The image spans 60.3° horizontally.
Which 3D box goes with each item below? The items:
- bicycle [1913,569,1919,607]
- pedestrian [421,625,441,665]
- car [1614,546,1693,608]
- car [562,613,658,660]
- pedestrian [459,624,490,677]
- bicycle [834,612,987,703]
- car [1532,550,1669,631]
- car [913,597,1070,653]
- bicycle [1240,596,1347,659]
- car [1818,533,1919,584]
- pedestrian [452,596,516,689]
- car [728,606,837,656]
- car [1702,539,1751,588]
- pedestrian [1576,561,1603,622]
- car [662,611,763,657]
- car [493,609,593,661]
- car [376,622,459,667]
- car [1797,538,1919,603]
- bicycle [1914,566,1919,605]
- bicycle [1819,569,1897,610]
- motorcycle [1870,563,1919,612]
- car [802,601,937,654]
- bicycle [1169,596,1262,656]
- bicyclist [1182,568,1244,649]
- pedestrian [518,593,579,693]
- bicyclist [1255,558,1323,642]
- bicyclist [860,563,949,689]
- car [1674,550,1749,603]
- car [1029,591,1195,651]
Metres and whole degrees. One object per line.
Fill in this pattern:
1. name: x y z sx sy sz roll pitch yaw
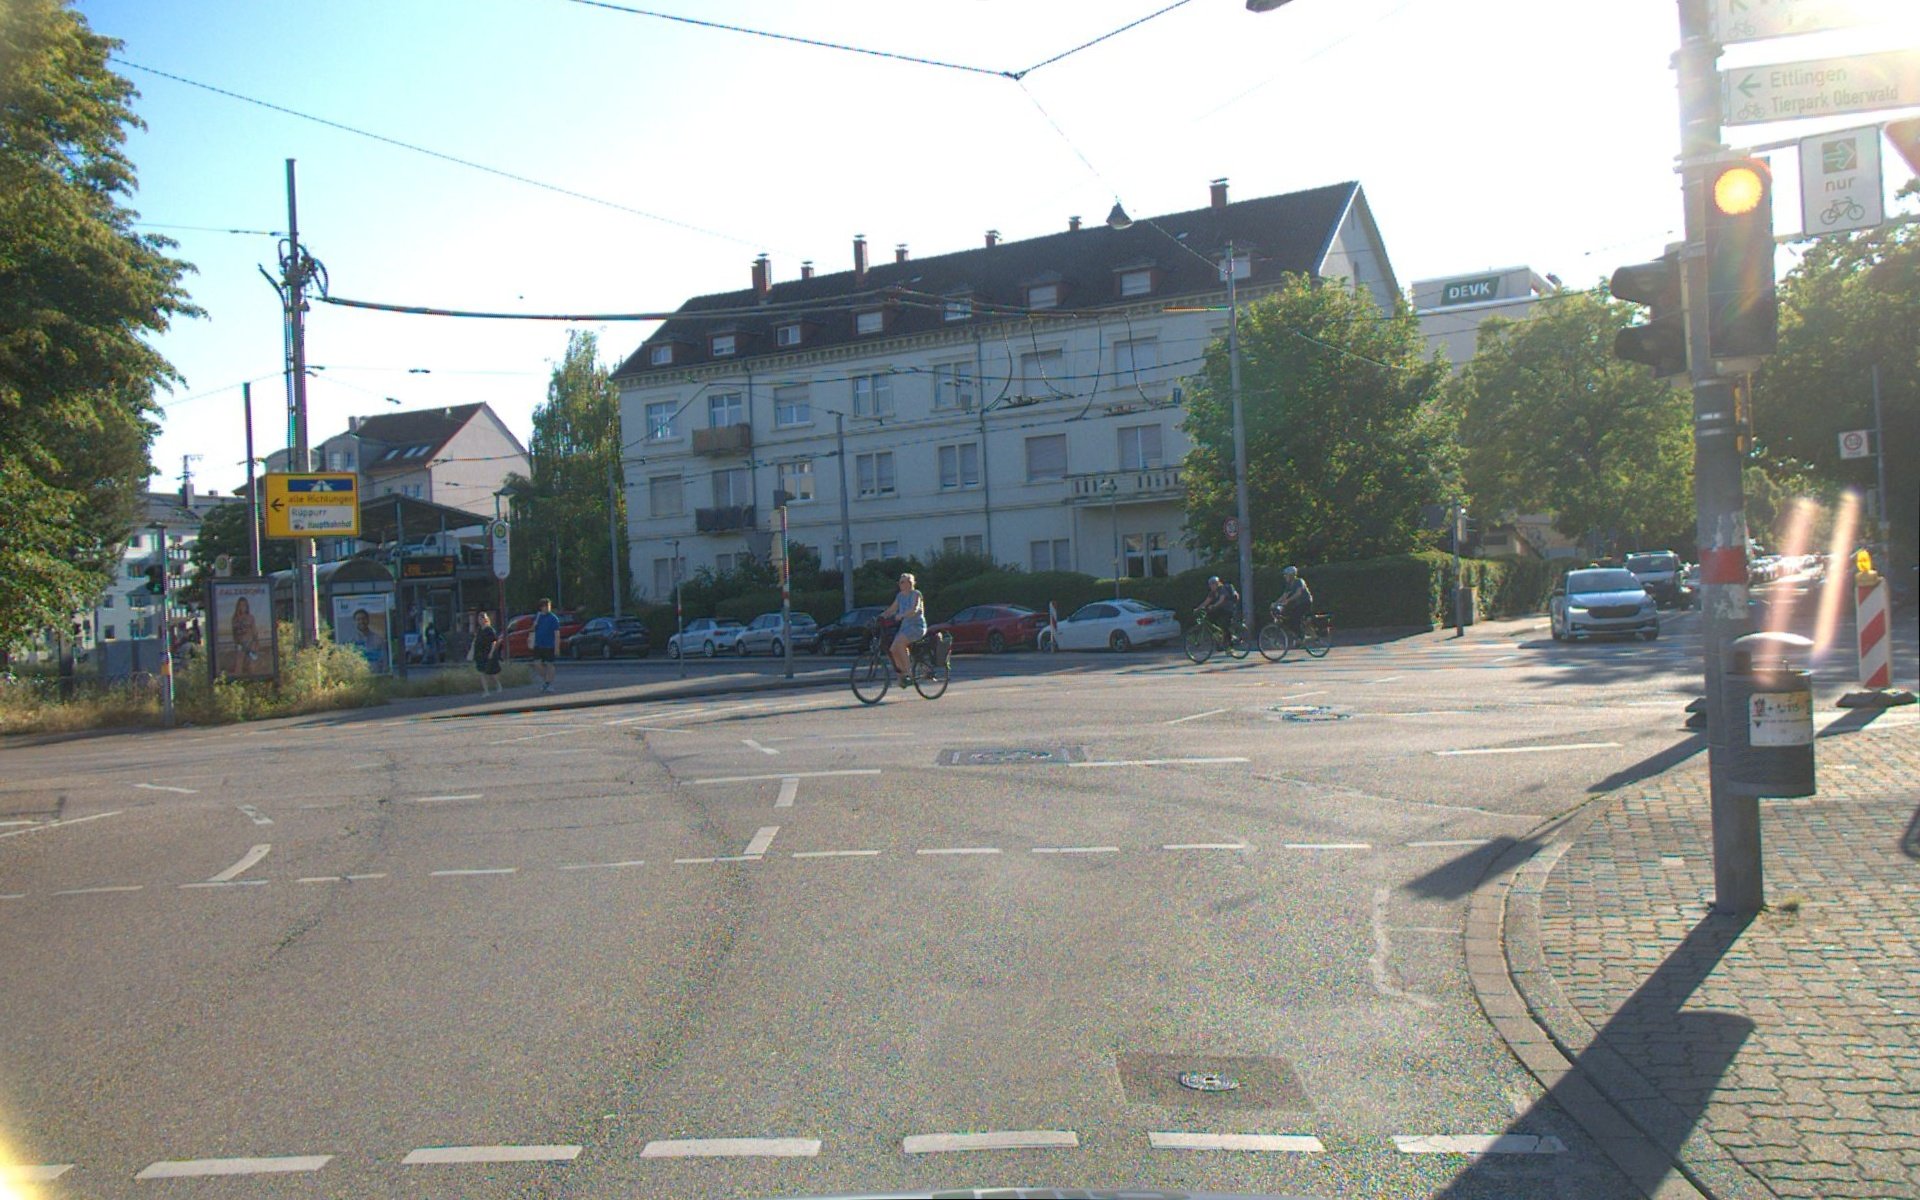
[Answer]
1. bicycle: 24.732 -0.342 41.174 1.691 0.949 0.561 -3 0 29
2. pedestrian: -21.118 1.801 66.051 0.560 1.527 0.672 -3 0 -29
3. car: 25.347 -0.864 60.327 2.308 2.049 5.306 -3 0 26
4. car: -14.193 1.489 66.961 1.830 1.696 4.304 -6 2 -41
5. pedestrian: -19.123 1.980 65.183 0.914 2.048 0.759 -2 1 -37
6. bicycle: -0.653 0.759 22.273 1.996 1.087 0.655 -3 0 -35
7. car: 12.933 -0.172 33.620 1.850 1.512 4.003 1 0 10
8. car: 0.913 0.775 50.115 4.625 1.400 1.974 -3 2 44
9. bicycle: 6.433 0.528 31.898 1.987 1.087 0.658 -3 0 -25
10. car: 40.815 -1.822 73.113 4.990 1.958 2.360 -3 -2 26
11. pedestrian: -9.493 0.840 33.011 0.893 1.777 1.067 -3 0 -2
12. car: -6.211 1.093 57.758 1.971 1.472 3.663 -6 2 -41
13. car: 43.110 -2.025 92.938 2.308 2.558 5.306 -3 0 26
14. pedestrian: 19.632 -0.268 51.568 0.648 1.871 0.682 -3 0 28
15. car: -9.175 1.282 61.204 1.830 1.472 3.899 -6 2 -41
16. car: -18.164 1.532 71.940 2.039 1.995 5.073 -6 2 -41
17. car: -27.192 2.247 82.776 2.039 1.995 5.073 -6 2 -41
18. car: 31.341 -1.014 55.663 5.510 1.958 2.360 -3 -2 26
19. bicycle: 24.372 -0.396 40.495 1.691 0.949 0.561 -3 0 29
20. bicycle: 22.773 -0.260 41.974 1.690 0.949 0.671 -3 0 29
21. motorcycle: 22.934 -0.326 39.585 1.912 1.128 0.837 -3 -1 24
22. car: -3.031 0.919 54.562 1.970 1.472 4.634 -6 2 -41
23. bicycle: 5.116 0.504 33.031 2.000 1.087 0.654 -3 0 -40
24. bicyclist: 5.058 0.177 33.094 1.027 1.558 0.651 -3 0 -40
25. pedestrian: -8.358 0.861 33.637 0.893 1.958 1.067 -3 0 -2
26. bicyclist: 6.353 0.000 31.955 1.020 1.558 0.693 -3 0 -24
27. bicyclist: -0.750 0.353 22.317 0.847 1.633 0.767 -3 0 -35
28. car: 25.059 -0.808 55.098 1.858 1.591 4.386 -3 0 29
29. car: 4.199 0.597 46.172 1.916 1.400 4.426 -6 2 -43
